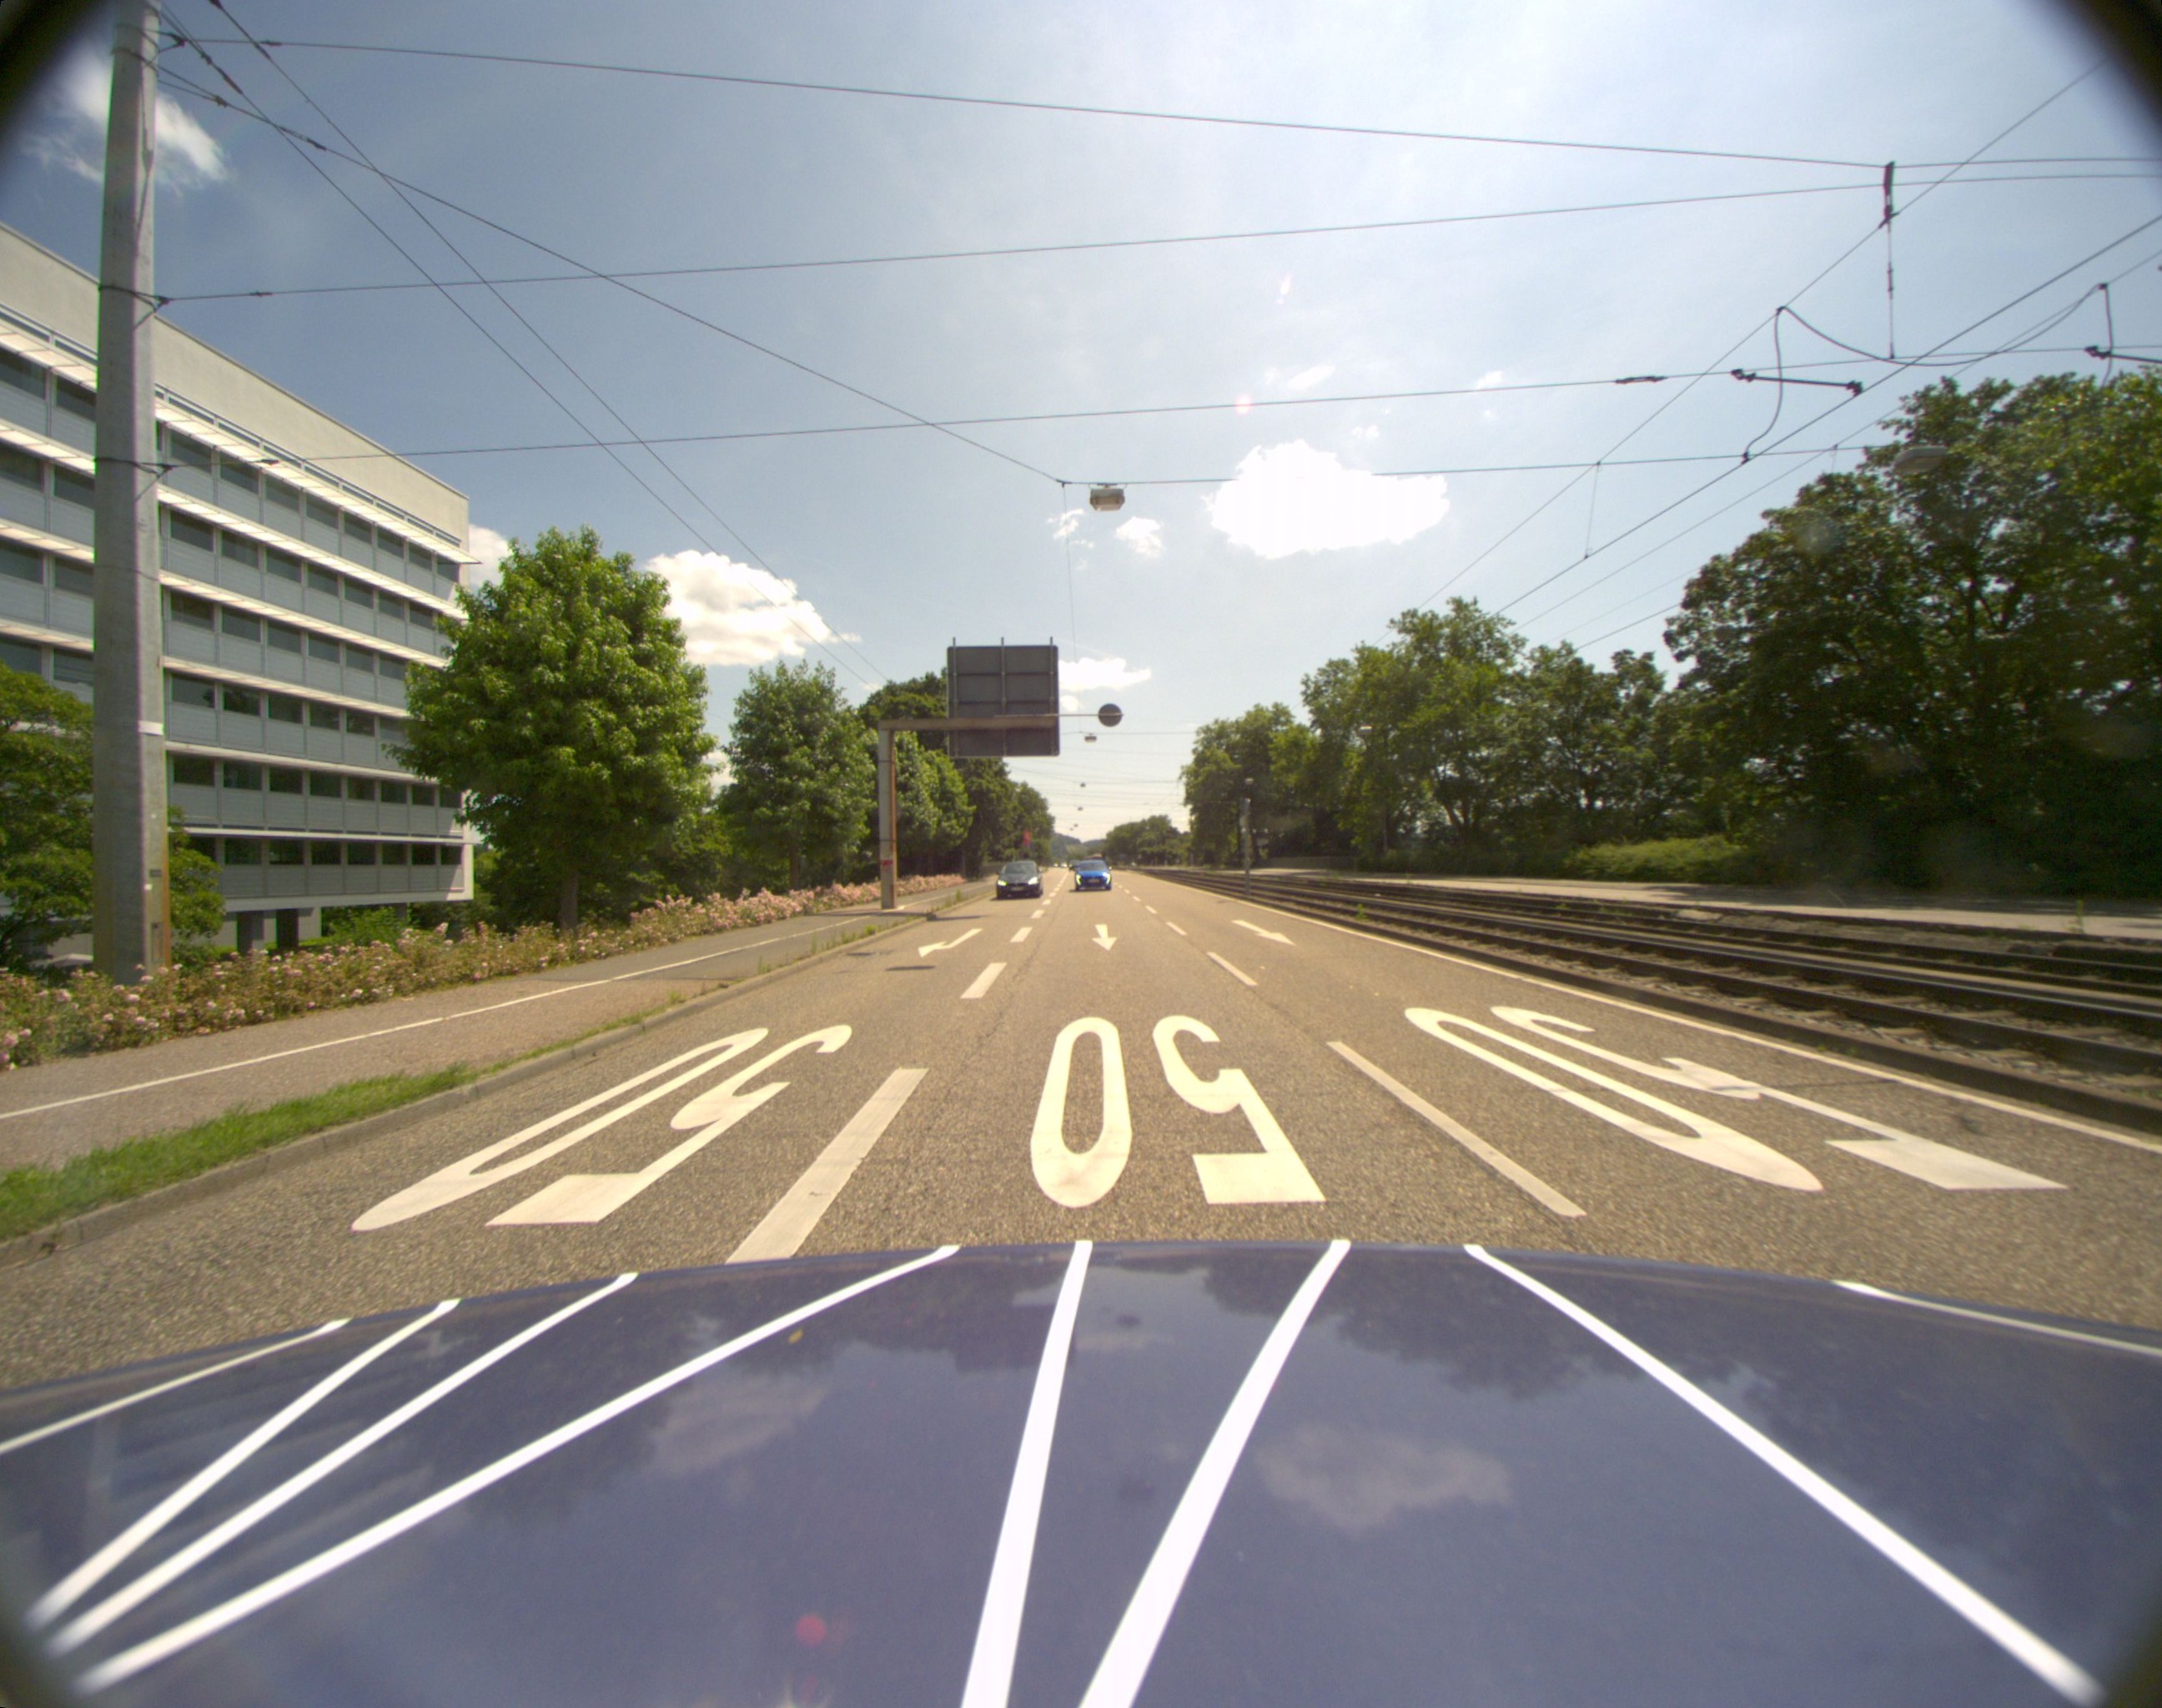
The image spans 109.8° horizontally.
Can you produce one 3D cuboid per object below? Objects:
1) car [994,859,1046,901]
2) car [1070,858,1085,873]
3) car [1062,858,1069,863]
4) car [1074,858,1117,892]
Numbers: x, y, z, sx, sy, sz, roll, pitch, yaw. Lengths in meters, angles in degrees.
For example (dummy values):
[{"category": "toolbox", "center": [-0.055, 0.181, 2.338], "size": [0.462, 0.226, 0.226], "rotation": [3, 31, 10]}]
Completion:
[{"category": "car", "center": [-2.512, 1.051, 32.171], "size": [1.765, 1.517, 4.099], "rotation": [-3, 0, 1]}, {"category": "car", "center": [-0.446, 1.607, 109.280], "size": [1.999, 2.002, 4.000], "rotation": [-4, 0, 0]}, {"category": "car", "center": [-4.367, 1.773, 218.727], "size": [1.896, 1.331, 4.000], "rotation": [-3, 0, 0]}, {"category": "car", "center": [0.638, 1.006, 35.921], "size": [1.842, 1.445, 4.001], "rotation": [3, -2, 0]}]
